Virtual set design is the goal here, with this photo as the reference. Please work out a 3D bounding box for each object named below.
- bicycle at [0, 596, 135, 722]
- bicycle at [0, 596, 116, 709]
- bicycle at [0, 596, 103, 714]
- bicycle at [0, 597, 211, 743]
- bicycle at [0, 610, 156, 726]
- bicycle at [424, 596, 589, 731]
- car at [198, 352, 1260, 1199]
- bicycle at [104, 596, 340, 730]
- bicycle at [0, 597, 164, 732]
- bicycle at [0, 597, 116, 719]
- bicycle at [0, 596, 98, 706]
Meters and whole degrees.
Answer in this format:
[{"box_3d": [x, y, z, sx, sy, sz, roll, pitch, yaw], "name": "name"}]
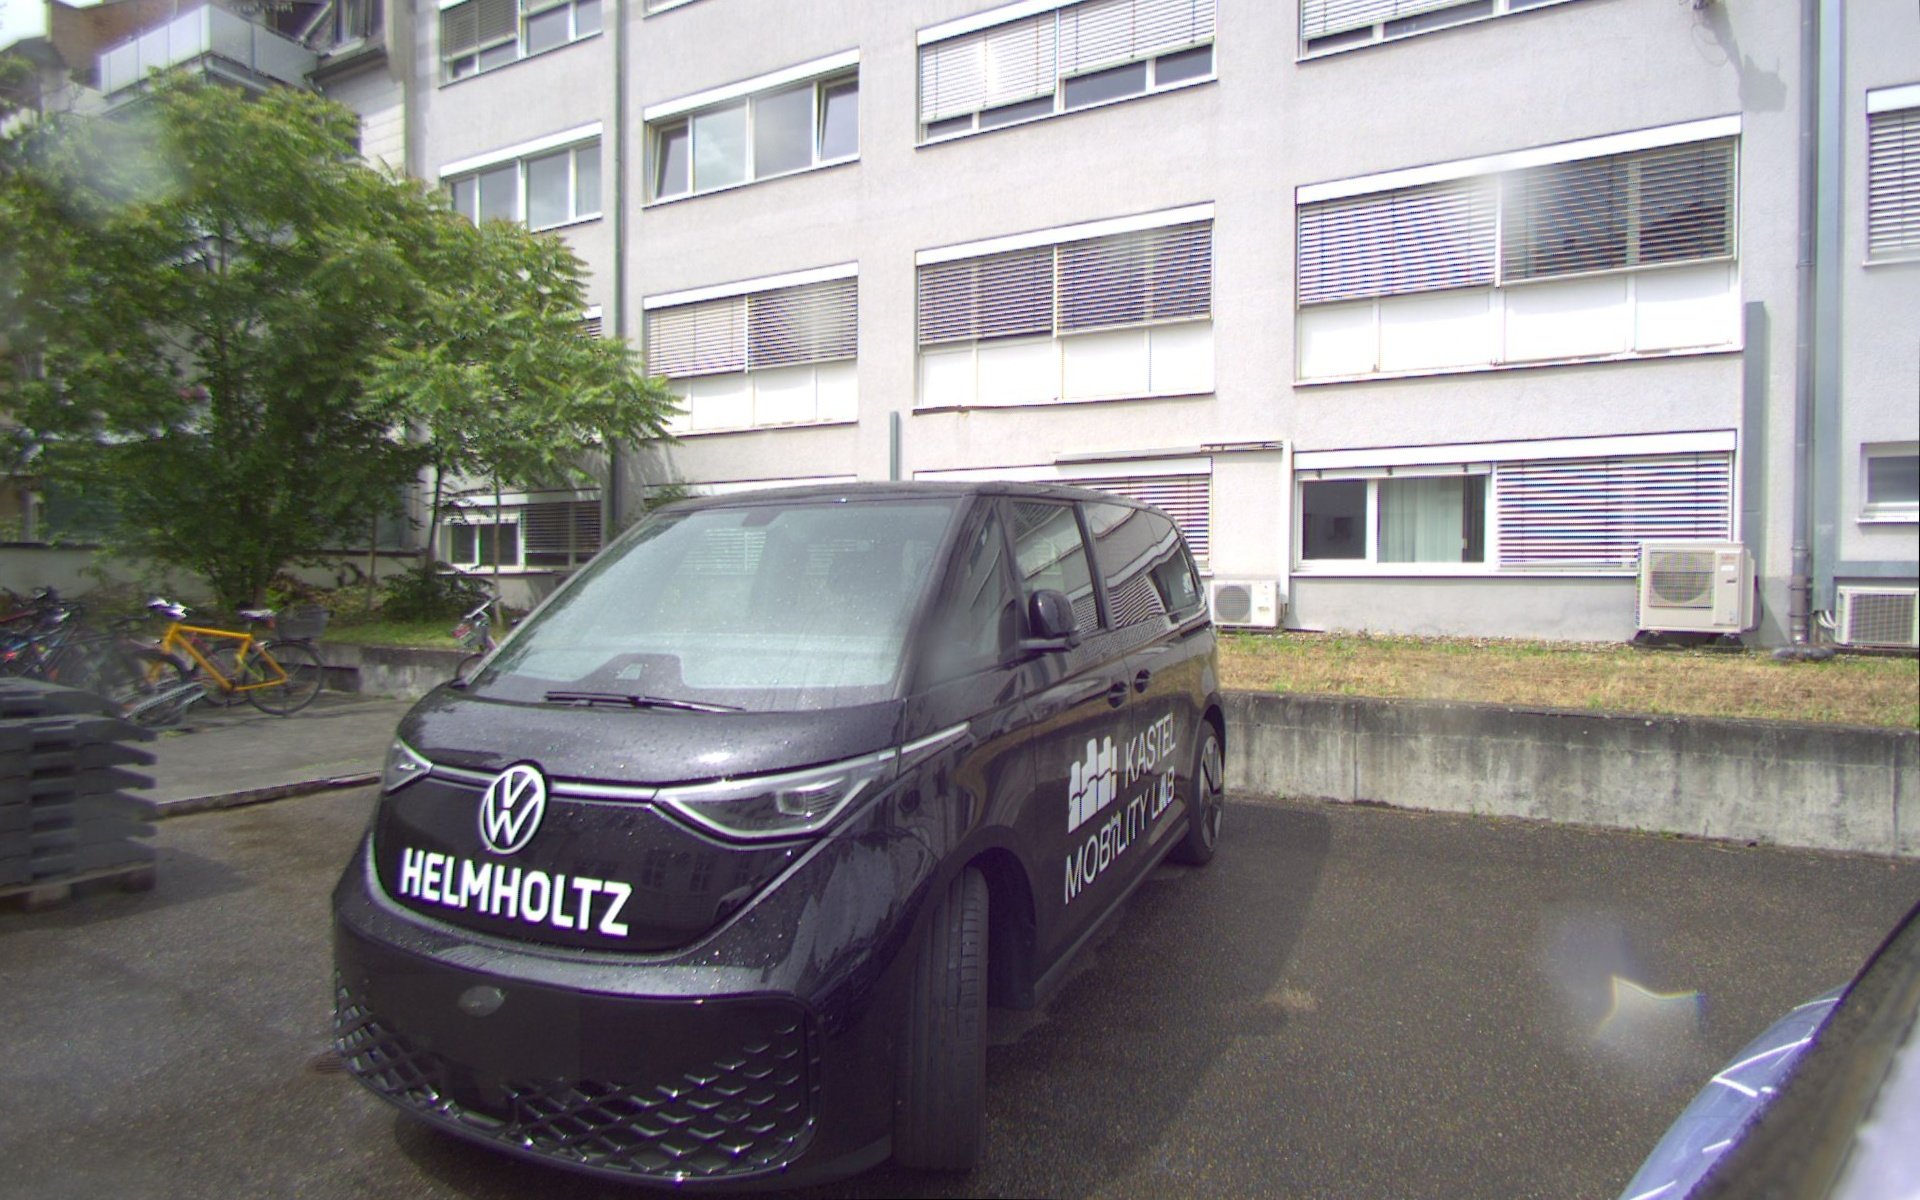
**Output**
[{"box_3d": [-8.728, 0.540, 9.345, 0.329, 1.117, 1.740, 1, 1, 26], "name": "bicycle"}, {"box_3d": [-9.736, 0.529, 10.321, 0.351, 1.117, 1.740, 1, 1, 26], "name": "bicycle"}, {"box_3d": [-9.426, 0.536, 9.798, 0.342, 1.117, 1.740, 1, 1, 26], "name": "bicycle"}, {"box_3d": [-7.373, 0.547, 8.450, 0.403, 1.117, 1.774, 1, 1, 34], "name": "bicycle"}, {"box_3d": [-8.421, 0.610, 9.199, 0.326, 0.979, 1.780, 1, 1, 26], "name": "bicycle"}, {"box_3d": [-4.254, 0.552, 9.453, 1.782, 1.117, 0.442, 1, 3, 31], "name": "bicycle"}, {"box_3d": [-0.093, 0.426, 4.336, 1.950, 1.888, 4.708, 0, 2, 25], "name": "car"}, {"box_3d": [-6.839, 0.535, 9.478, 0.364, 1.117, 1.774, 1, 1, 34], "name": "bicycle"}, {"box_3d": [-8.083, 0.545, 8.826, 0.352, 1.117, 1.774, 1, 1, 34], "name": "bicycle"}, {"box_3d": [-9.043, 0.540, 9.492, 0.339, 1.117, 1.740, 1, 1, 26], "name": "bicycle"}, {"box_3d": [-10.066, 0.528, 10.485, 0.338, 1.117, 1.740, 1, 1, 26], "name": "bicycle"}]
